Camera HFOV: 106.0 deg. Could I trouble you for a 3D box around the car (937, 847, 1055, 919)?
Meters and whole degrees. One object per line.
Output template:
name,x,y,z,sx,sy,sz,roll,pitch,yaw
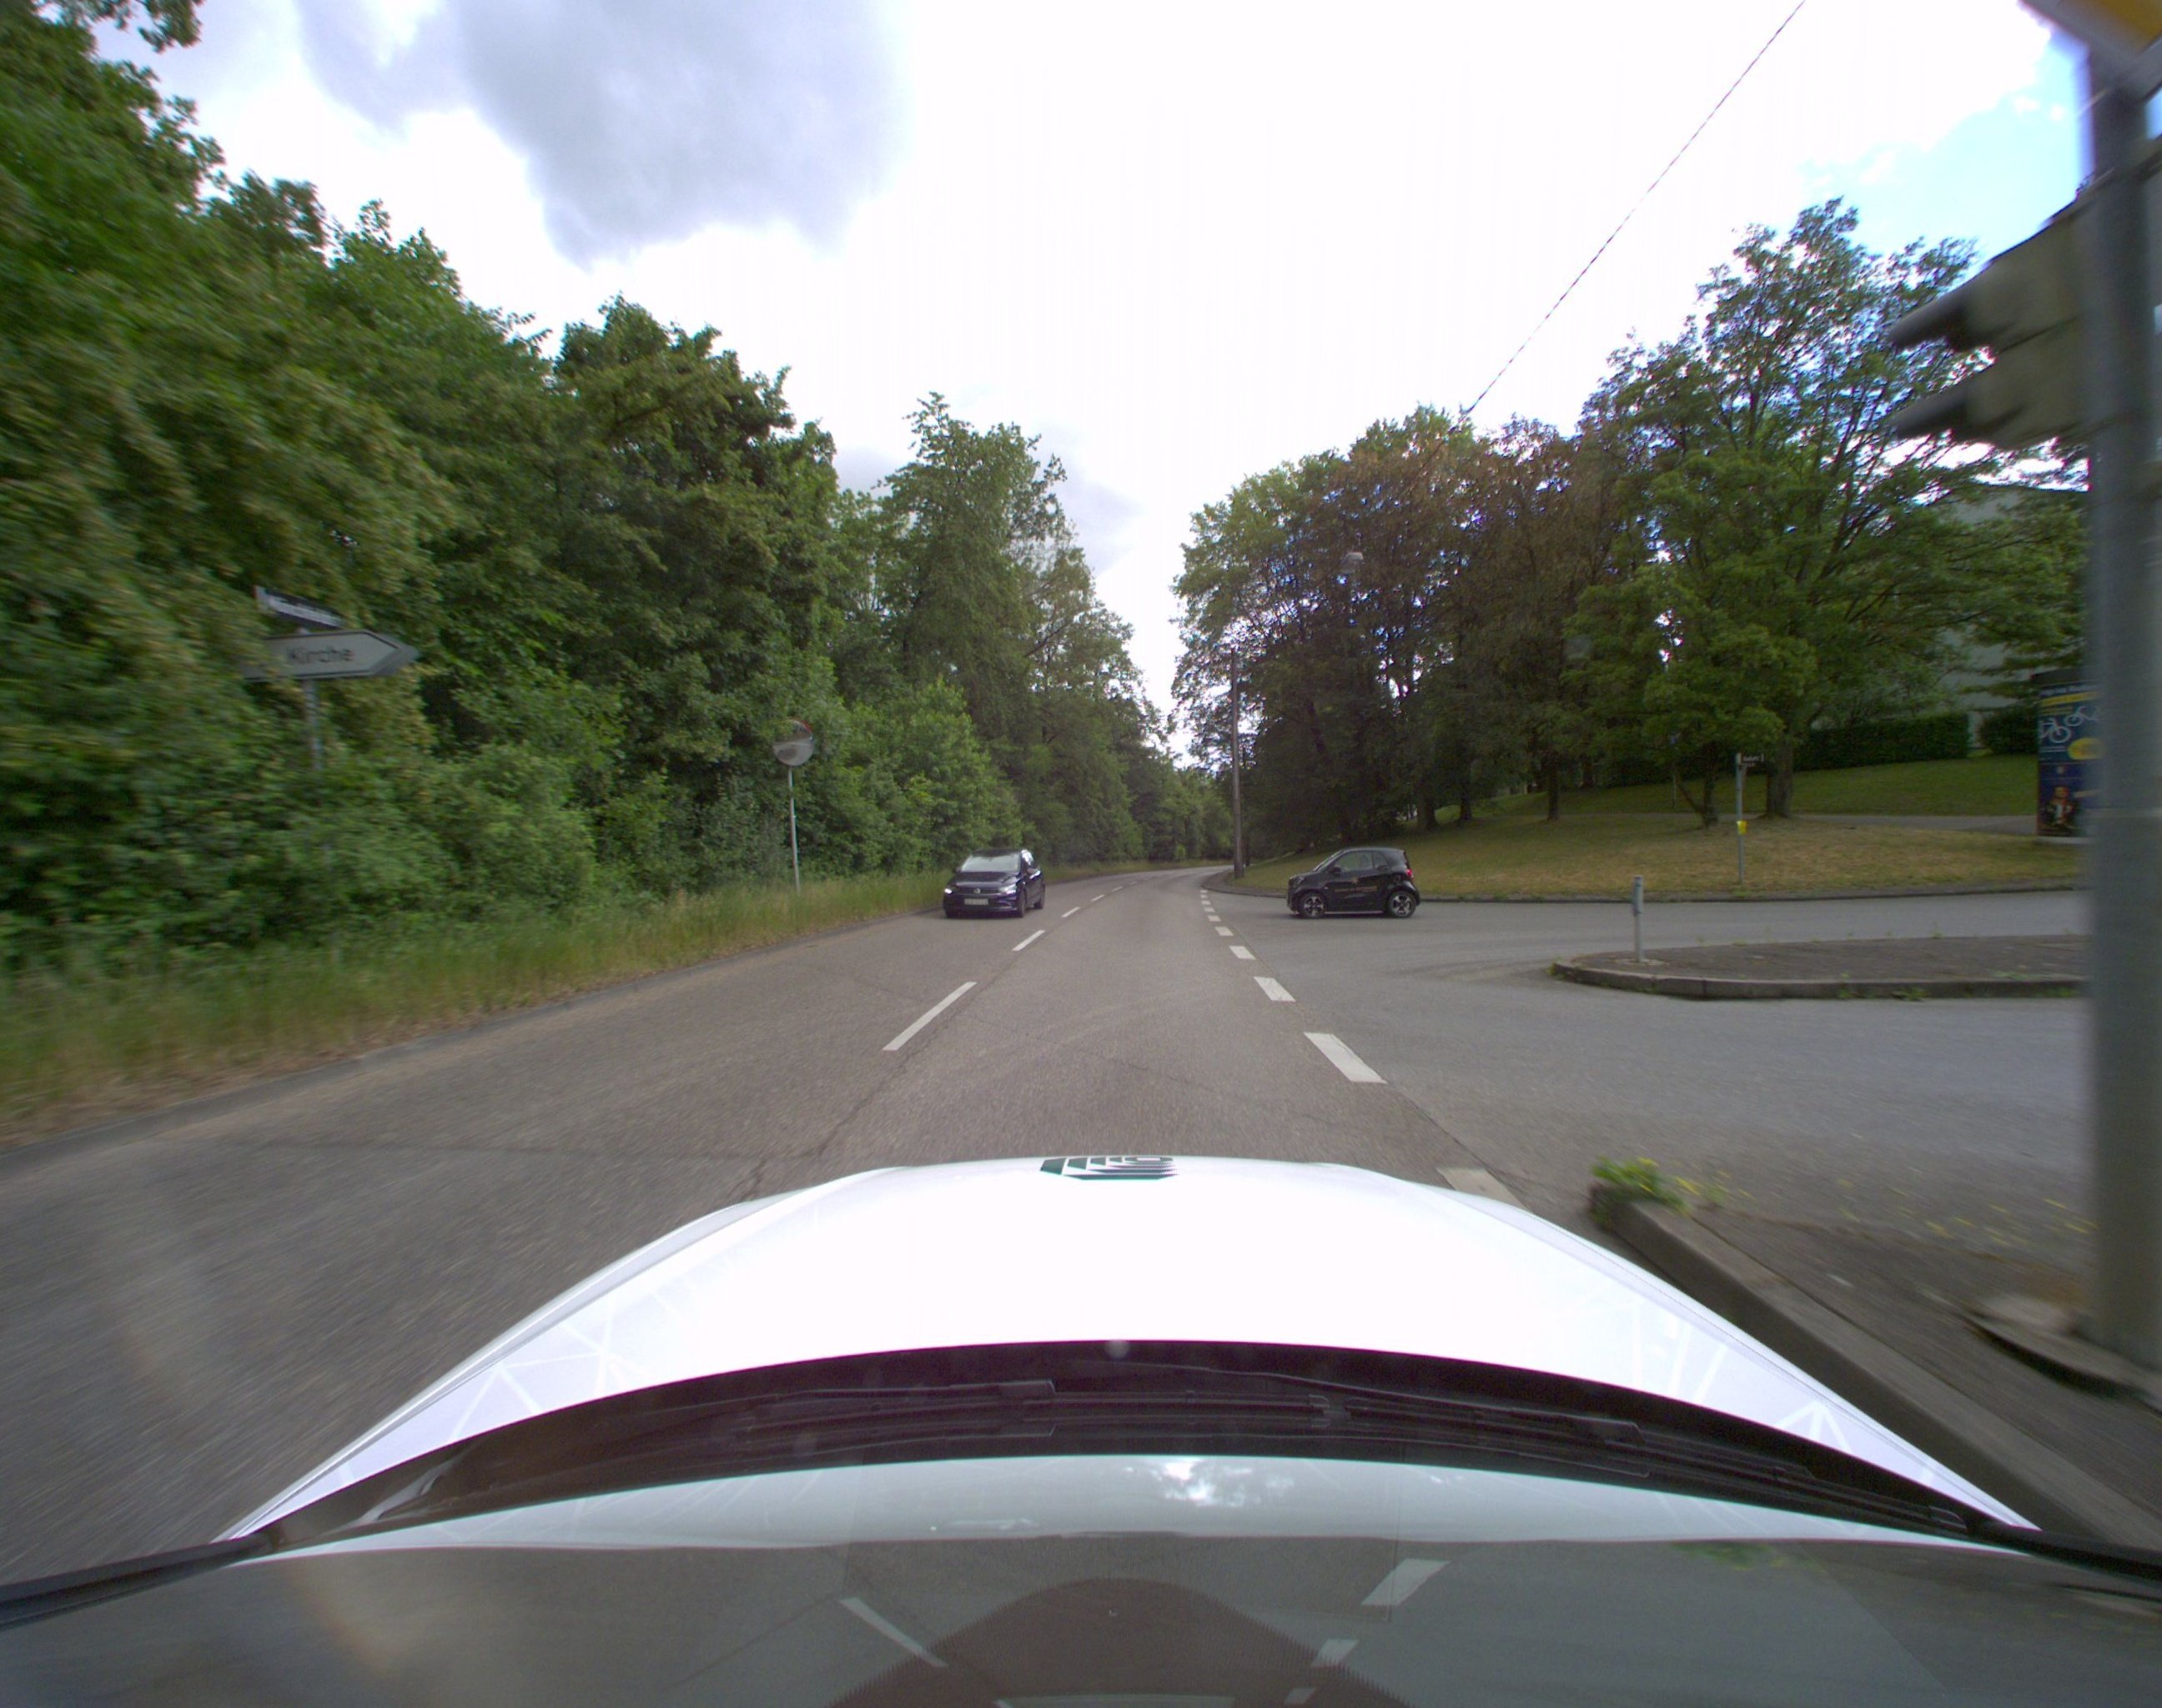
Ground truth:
car,-1.891,0.626,19.783,1.779,1.514,4.852,0,0,7

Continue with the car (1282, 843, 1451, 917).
car,6.256,0.564,18.181,3.284,1.494,1.672,-2,0,9
